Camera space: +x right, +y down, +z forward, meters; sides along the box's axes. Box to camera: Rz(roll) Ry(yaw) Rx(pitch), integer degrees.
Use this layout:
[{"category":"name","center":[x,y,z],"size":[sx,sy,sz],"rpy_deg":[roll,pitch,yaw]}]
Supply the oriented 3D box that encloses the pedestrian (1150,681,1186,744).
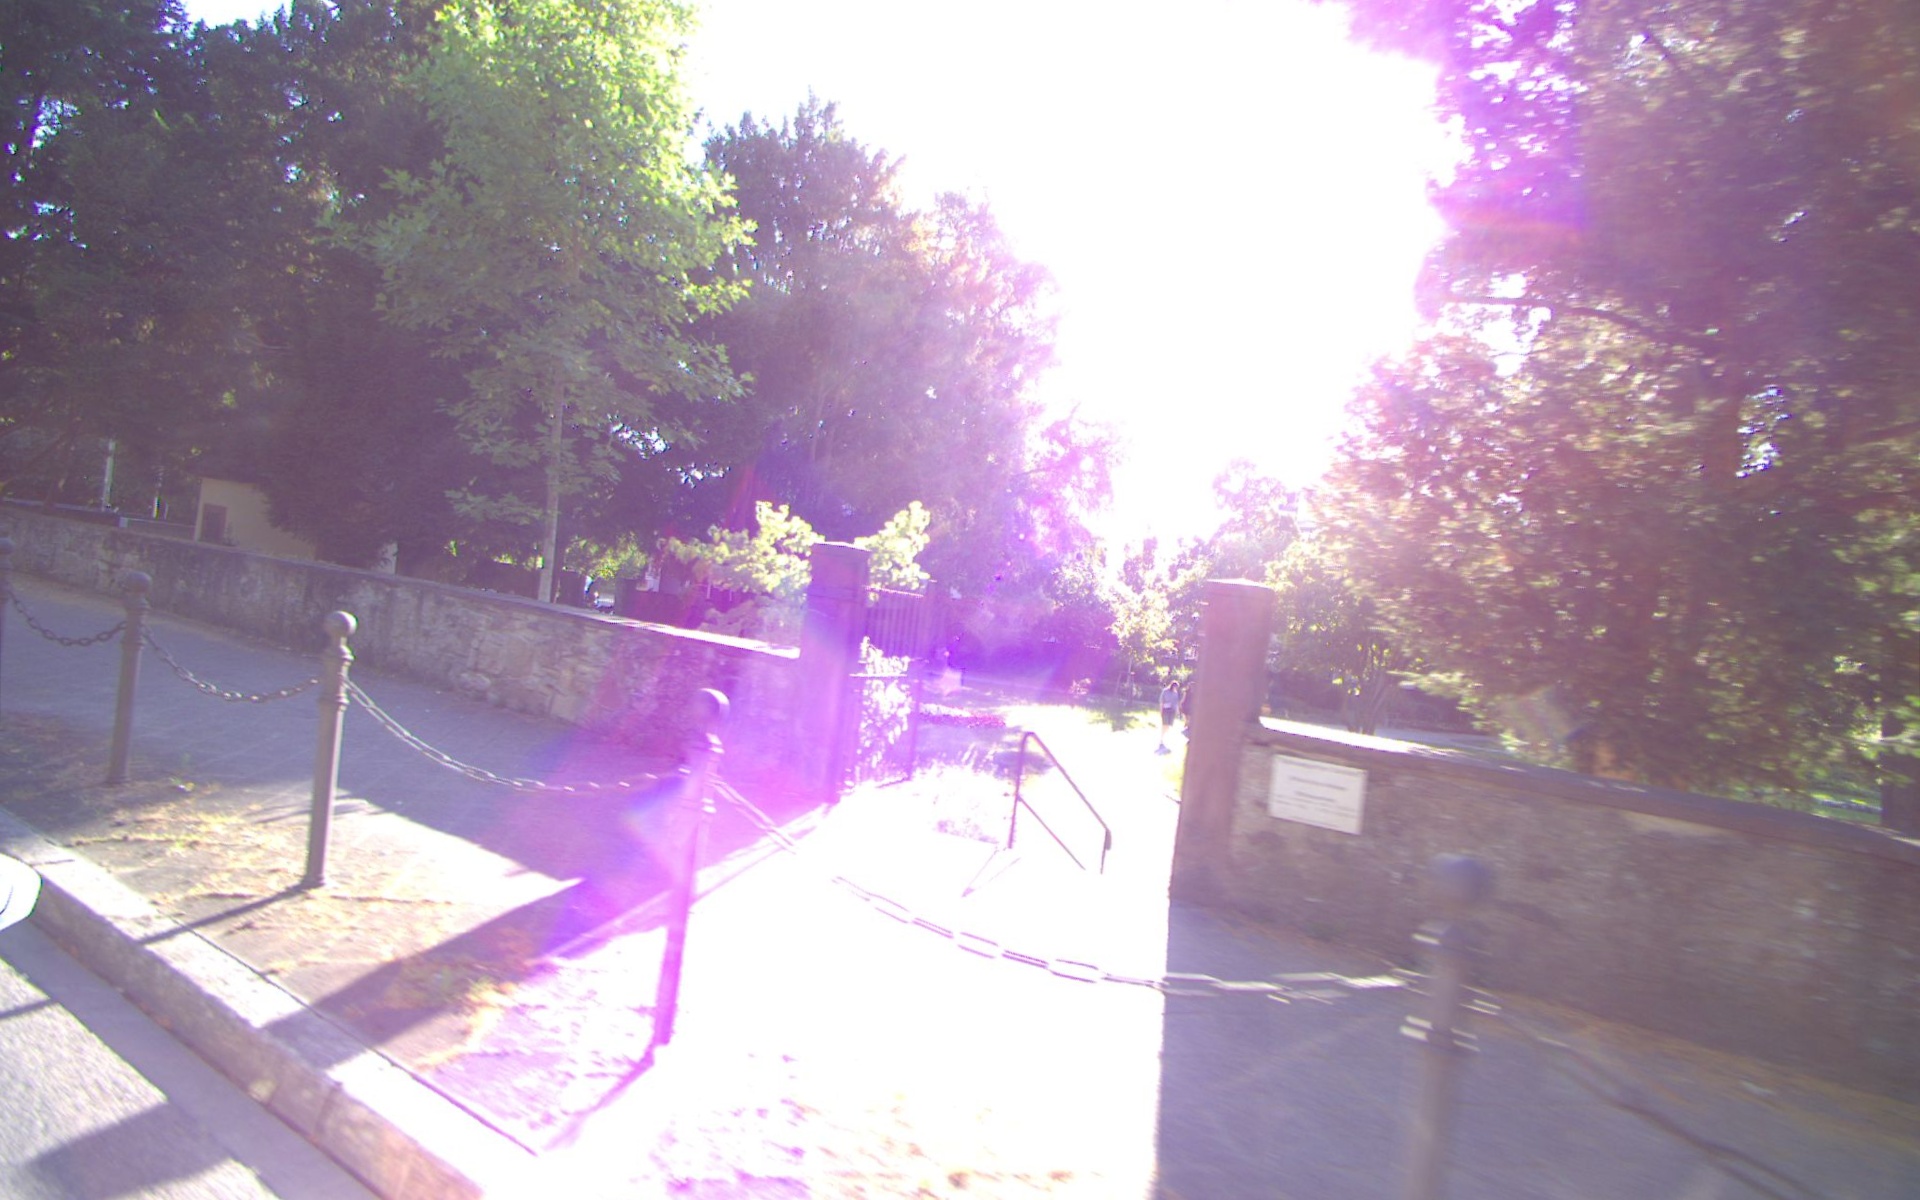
[{"category":"pedestrian","center":[5.791,3.140,27.994],"size":[0.626,1.659,0.616],"rpy_deg":[7,-2,33]}]

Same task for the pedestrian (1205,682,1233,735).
[{"category":"pedestrian","center":[8.919,3.742,34.673],"size":[0.588,1.749,0.591],"rpy_deg":[7,-2,32]}]

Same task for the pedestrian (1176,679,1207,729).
[{"category":"pedestrian","center":[8.075,3.634,35.083],"size":[0.748,1.636,0.566],"rpy_deg":[7,-2,30]}]
